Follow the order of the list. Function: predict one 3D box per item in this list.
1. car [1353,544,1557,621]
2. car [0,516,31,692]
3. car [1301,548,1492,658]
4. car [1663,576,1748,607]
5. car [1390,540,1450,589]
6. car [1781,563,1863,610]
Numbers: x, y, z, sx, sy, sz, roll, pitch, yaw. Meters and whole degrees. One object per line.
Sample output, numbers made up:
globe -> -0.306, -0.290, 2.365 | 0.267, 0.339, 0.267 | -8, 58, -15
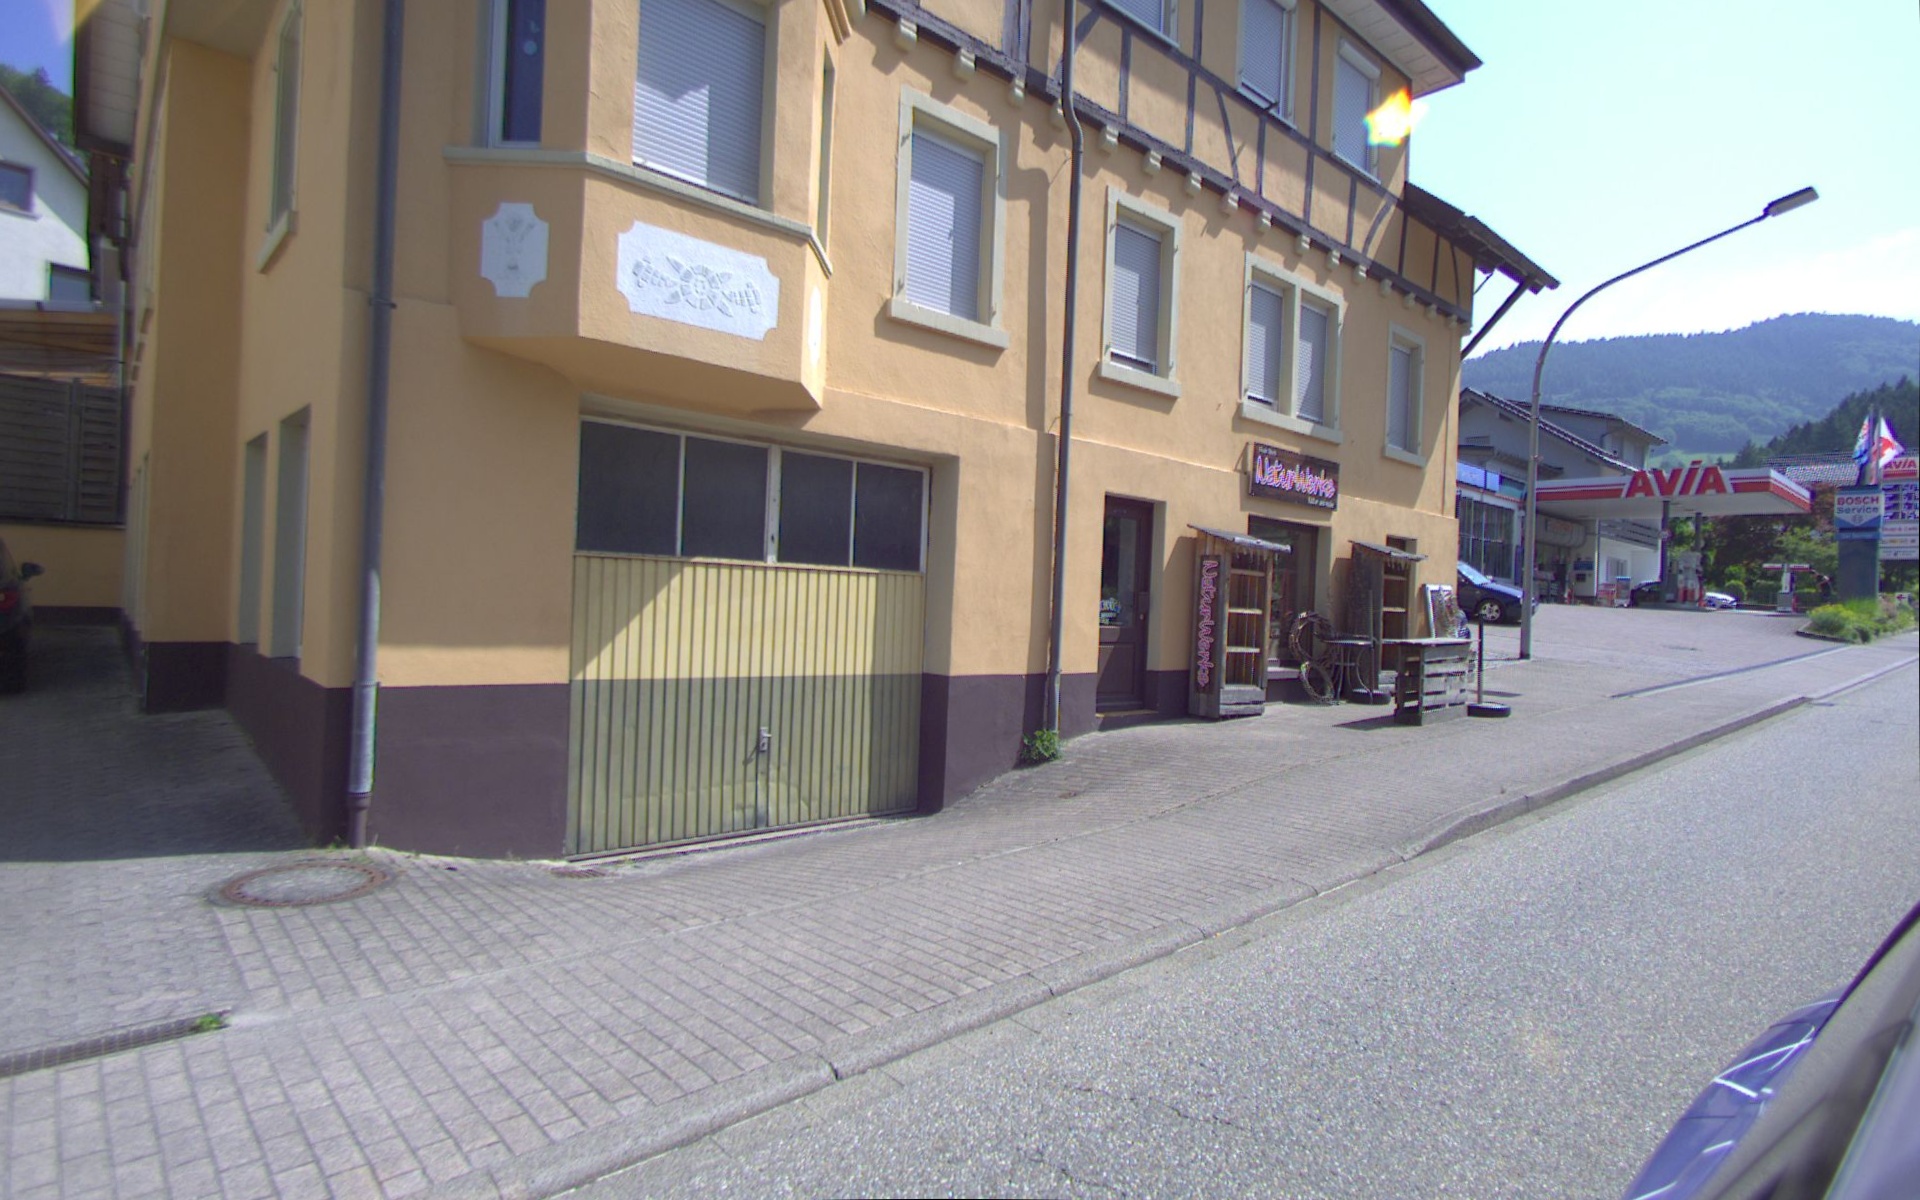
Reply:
car -> 12.598, -0.515, 25.929 | 4.315, 1.563, 1.774 | 7, 6, 40
car -> -9.818, -0.064, 9.506 | 1.569, 1.392, 3.820 | -1, 6, -42
car -> 7.670, -0.014, 17.907 | 1.402, 1.553, 2.658 | -2, 9, -45
car -> 36.118, -0.434, 49.084 | 1.312, 1.158, 3.080 | -1, 6, -42
car -> 18.037, -1.426, 39.619 | 1.594, 1.707, 3.888 | 6, 5, 31
car -> 32.874, -0.557, 38.567 | 3.843, 1.595, 1.697 | -1, 6, -41
